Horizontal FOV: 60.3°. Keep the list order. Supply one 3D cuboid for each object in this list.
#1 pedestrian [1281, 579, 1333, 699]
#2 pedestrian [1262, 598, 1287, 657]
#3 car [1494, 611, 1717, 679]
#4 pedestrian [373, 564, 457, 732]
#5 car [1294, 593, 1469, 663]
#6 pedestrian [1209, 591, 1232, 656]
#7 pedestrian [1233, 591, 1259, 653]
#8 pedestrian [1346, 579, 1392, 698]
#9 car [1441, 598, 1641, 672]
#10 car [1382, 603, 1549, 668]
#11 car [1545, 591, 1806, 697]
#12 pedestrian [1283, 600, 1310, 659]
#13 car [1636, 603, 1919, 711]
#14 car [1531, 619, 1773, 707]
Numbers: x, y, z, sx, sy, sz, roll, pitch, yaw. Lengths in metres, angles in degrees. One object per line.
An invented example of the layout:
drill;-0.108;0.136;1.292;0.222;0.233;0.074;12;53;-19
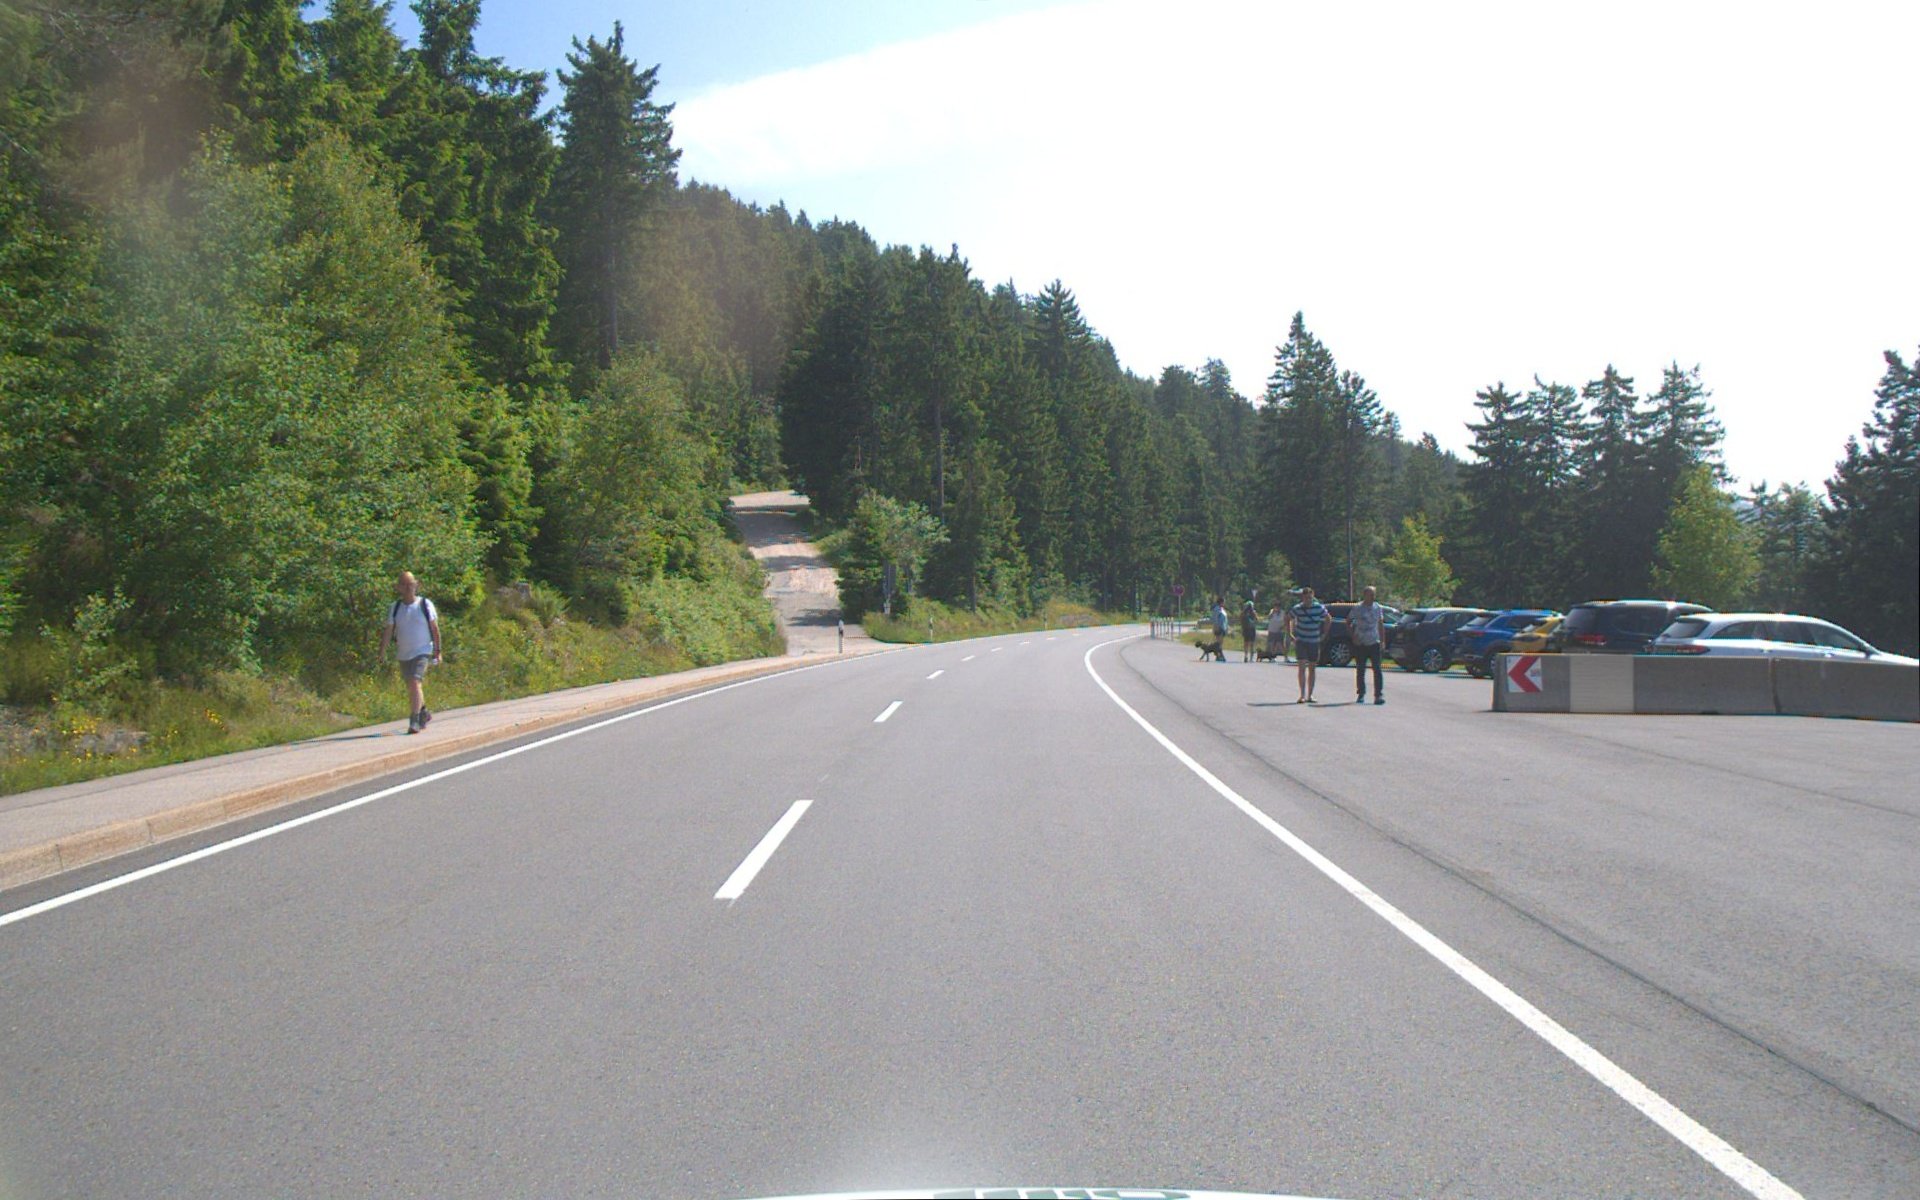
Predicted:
pedestrian;5.294;0.582;25.238;0.737;1.791;0.776;0;0;14
pedestrian;9.107;0.793;47.873;0.638;1.689;0.688;-1;1;14
car;13.439;0.922;34.593;3.905;1.376;1.987;0;0;0
pedestrian;-5.905;0.510;17.949;0.668;1.777;0.825;0;0;-3
car;11.204;0.725;44.142;4.178;1.825;1.891;0;0;-2
pedestrian;7.340;0.665;46.628;0.604;1.806;0.724;0;0;8
pedestrian;7.932;0.607;45.870;0.700;1.722;0.619;0;0;7
pedestrian;6.207;0.569;25.116;0.650;1.771;0.895;0;0;14
car;13.259;0.785;37.888;3.907;1.562;1.806;0;3;-3
car;12.563;0.868;41.222;3.679;1.595;1.598;0;0;-5
car;12.556;0.756;29.148;3.908;1.676;1.599;2;0;-3
pedestrian;9.511;0.824;46.723;0.604;1.615;0.735;-1;1;20
car;12.988;0.876;26.082;3.907;1.502;1.773;2;0;-2
car;13.317;1.199;31.988;3.915;1.461;1.763;3;0;0
